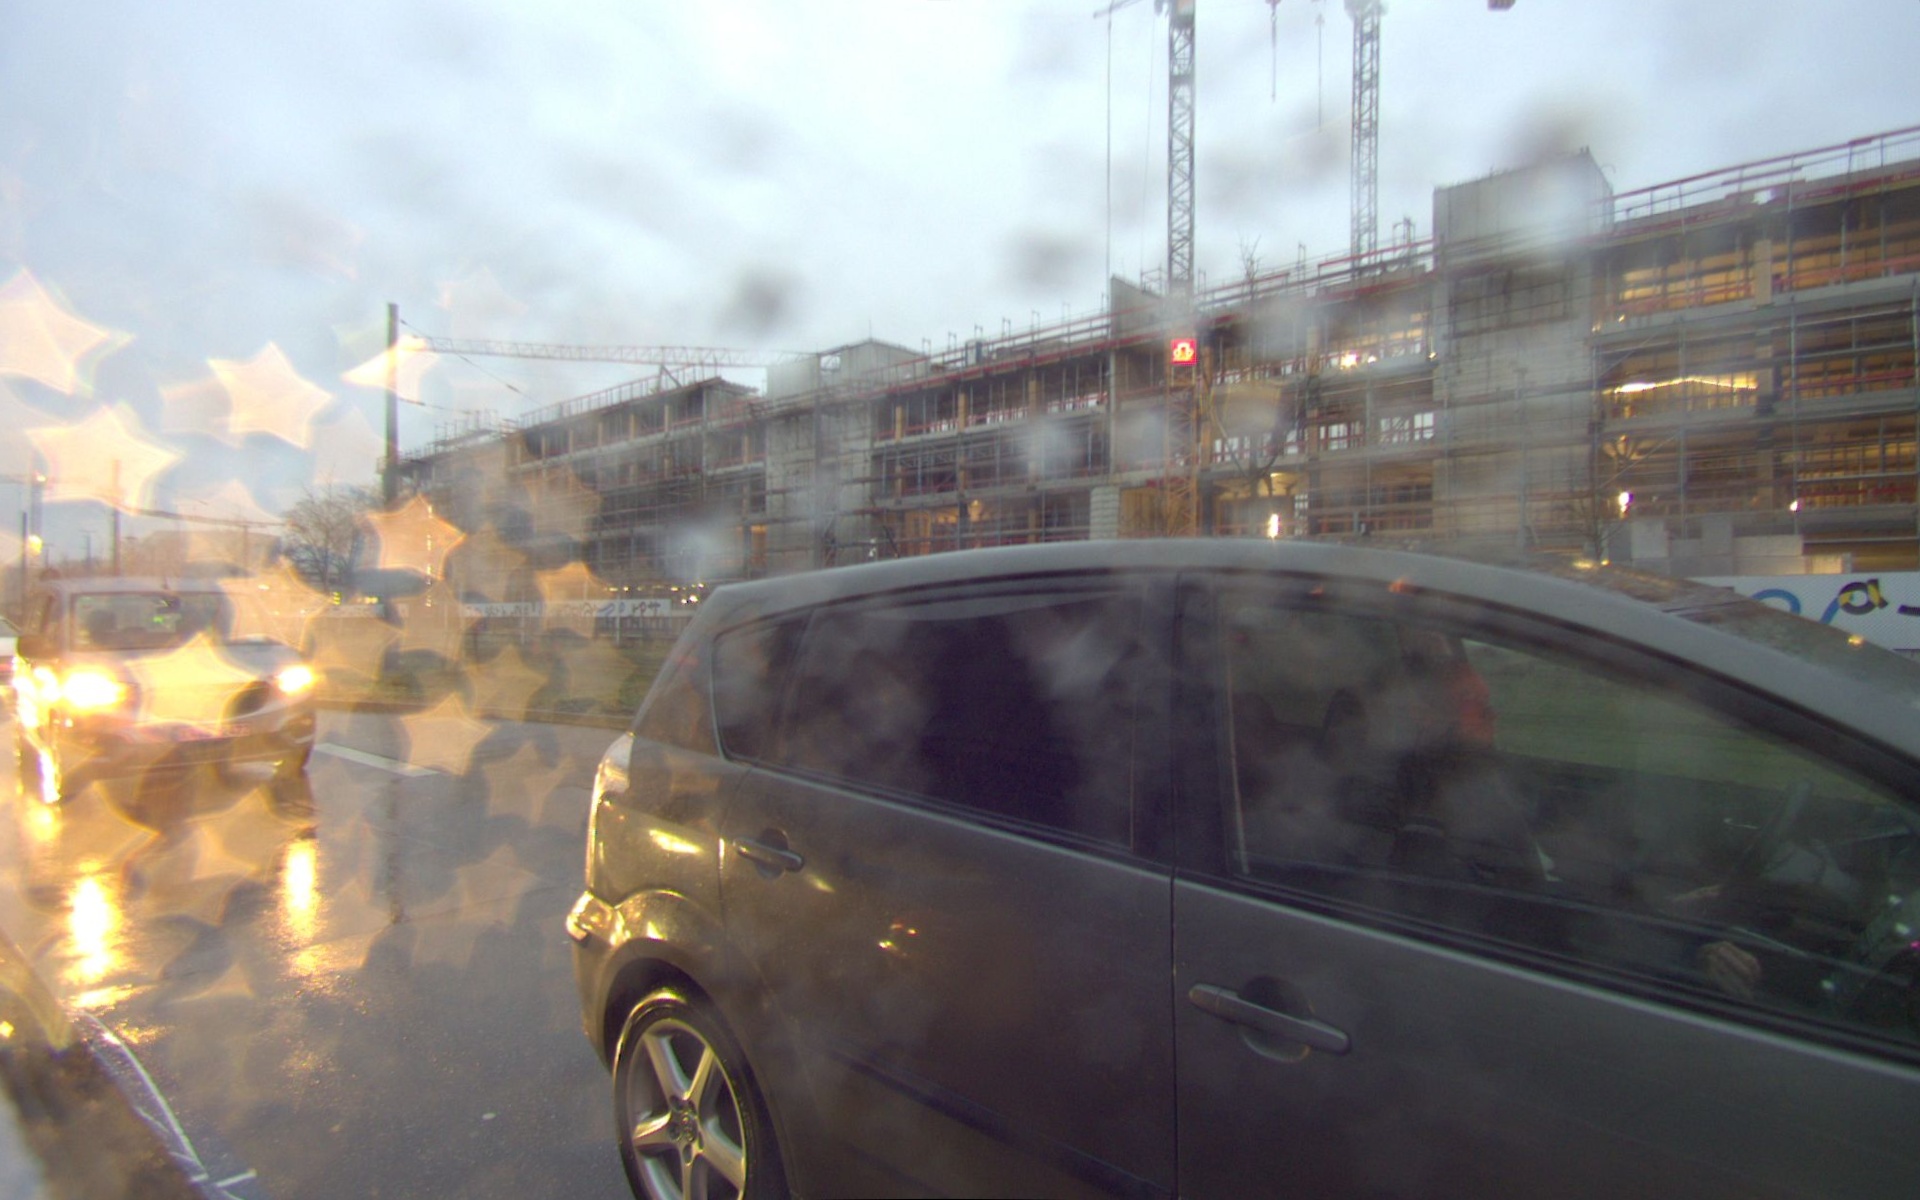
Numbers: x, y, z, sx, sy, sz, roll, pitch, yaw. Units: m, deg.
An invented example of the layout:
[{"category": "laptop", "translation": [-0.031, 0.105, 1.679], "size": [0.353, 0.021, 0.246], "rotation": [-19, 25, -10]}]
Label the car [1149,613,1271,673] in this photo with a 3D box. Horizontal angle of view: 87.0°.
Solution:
[{"category": "car", "translation": [9.462, 1.568, 38.421], "size": [4.085, 2.139, 1.931], "rotation": [-1, 0, 44]}]

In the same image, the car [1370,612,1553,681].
[{"category": "car", "translation": [13.577, 1.184, 27.519], "size": [4.084, 1.700, 1.931], "rotation": [-1, 0, 44]}]

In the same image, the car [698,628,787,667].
[{"category": "car", "translation": [-10.474, 2.257, 48.726], "size": [4.074, 1.700, 1.936], "rotation": [-1, 0, 35]}]

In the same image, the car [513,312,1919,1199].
[{"category": "car", "translation": [1.031, 0.554, 1.822], "size": [3.996, 1.606, 1.742], "rotation": [-1, 0, 39]}]

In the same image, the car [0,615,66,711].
[{"category": "car", "translation": [-18.670, 1.130, 18.793], "size": [4.306, 1.666, 1.827], "rotation": [-1, 0, 30]}]

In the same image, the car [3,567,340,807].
[{"category": "car", "translation": [-7.440, 0.644, 9.406], "size": [4.000, 1.746, 1.833], "rotation": [-1, 0, 43]}]
